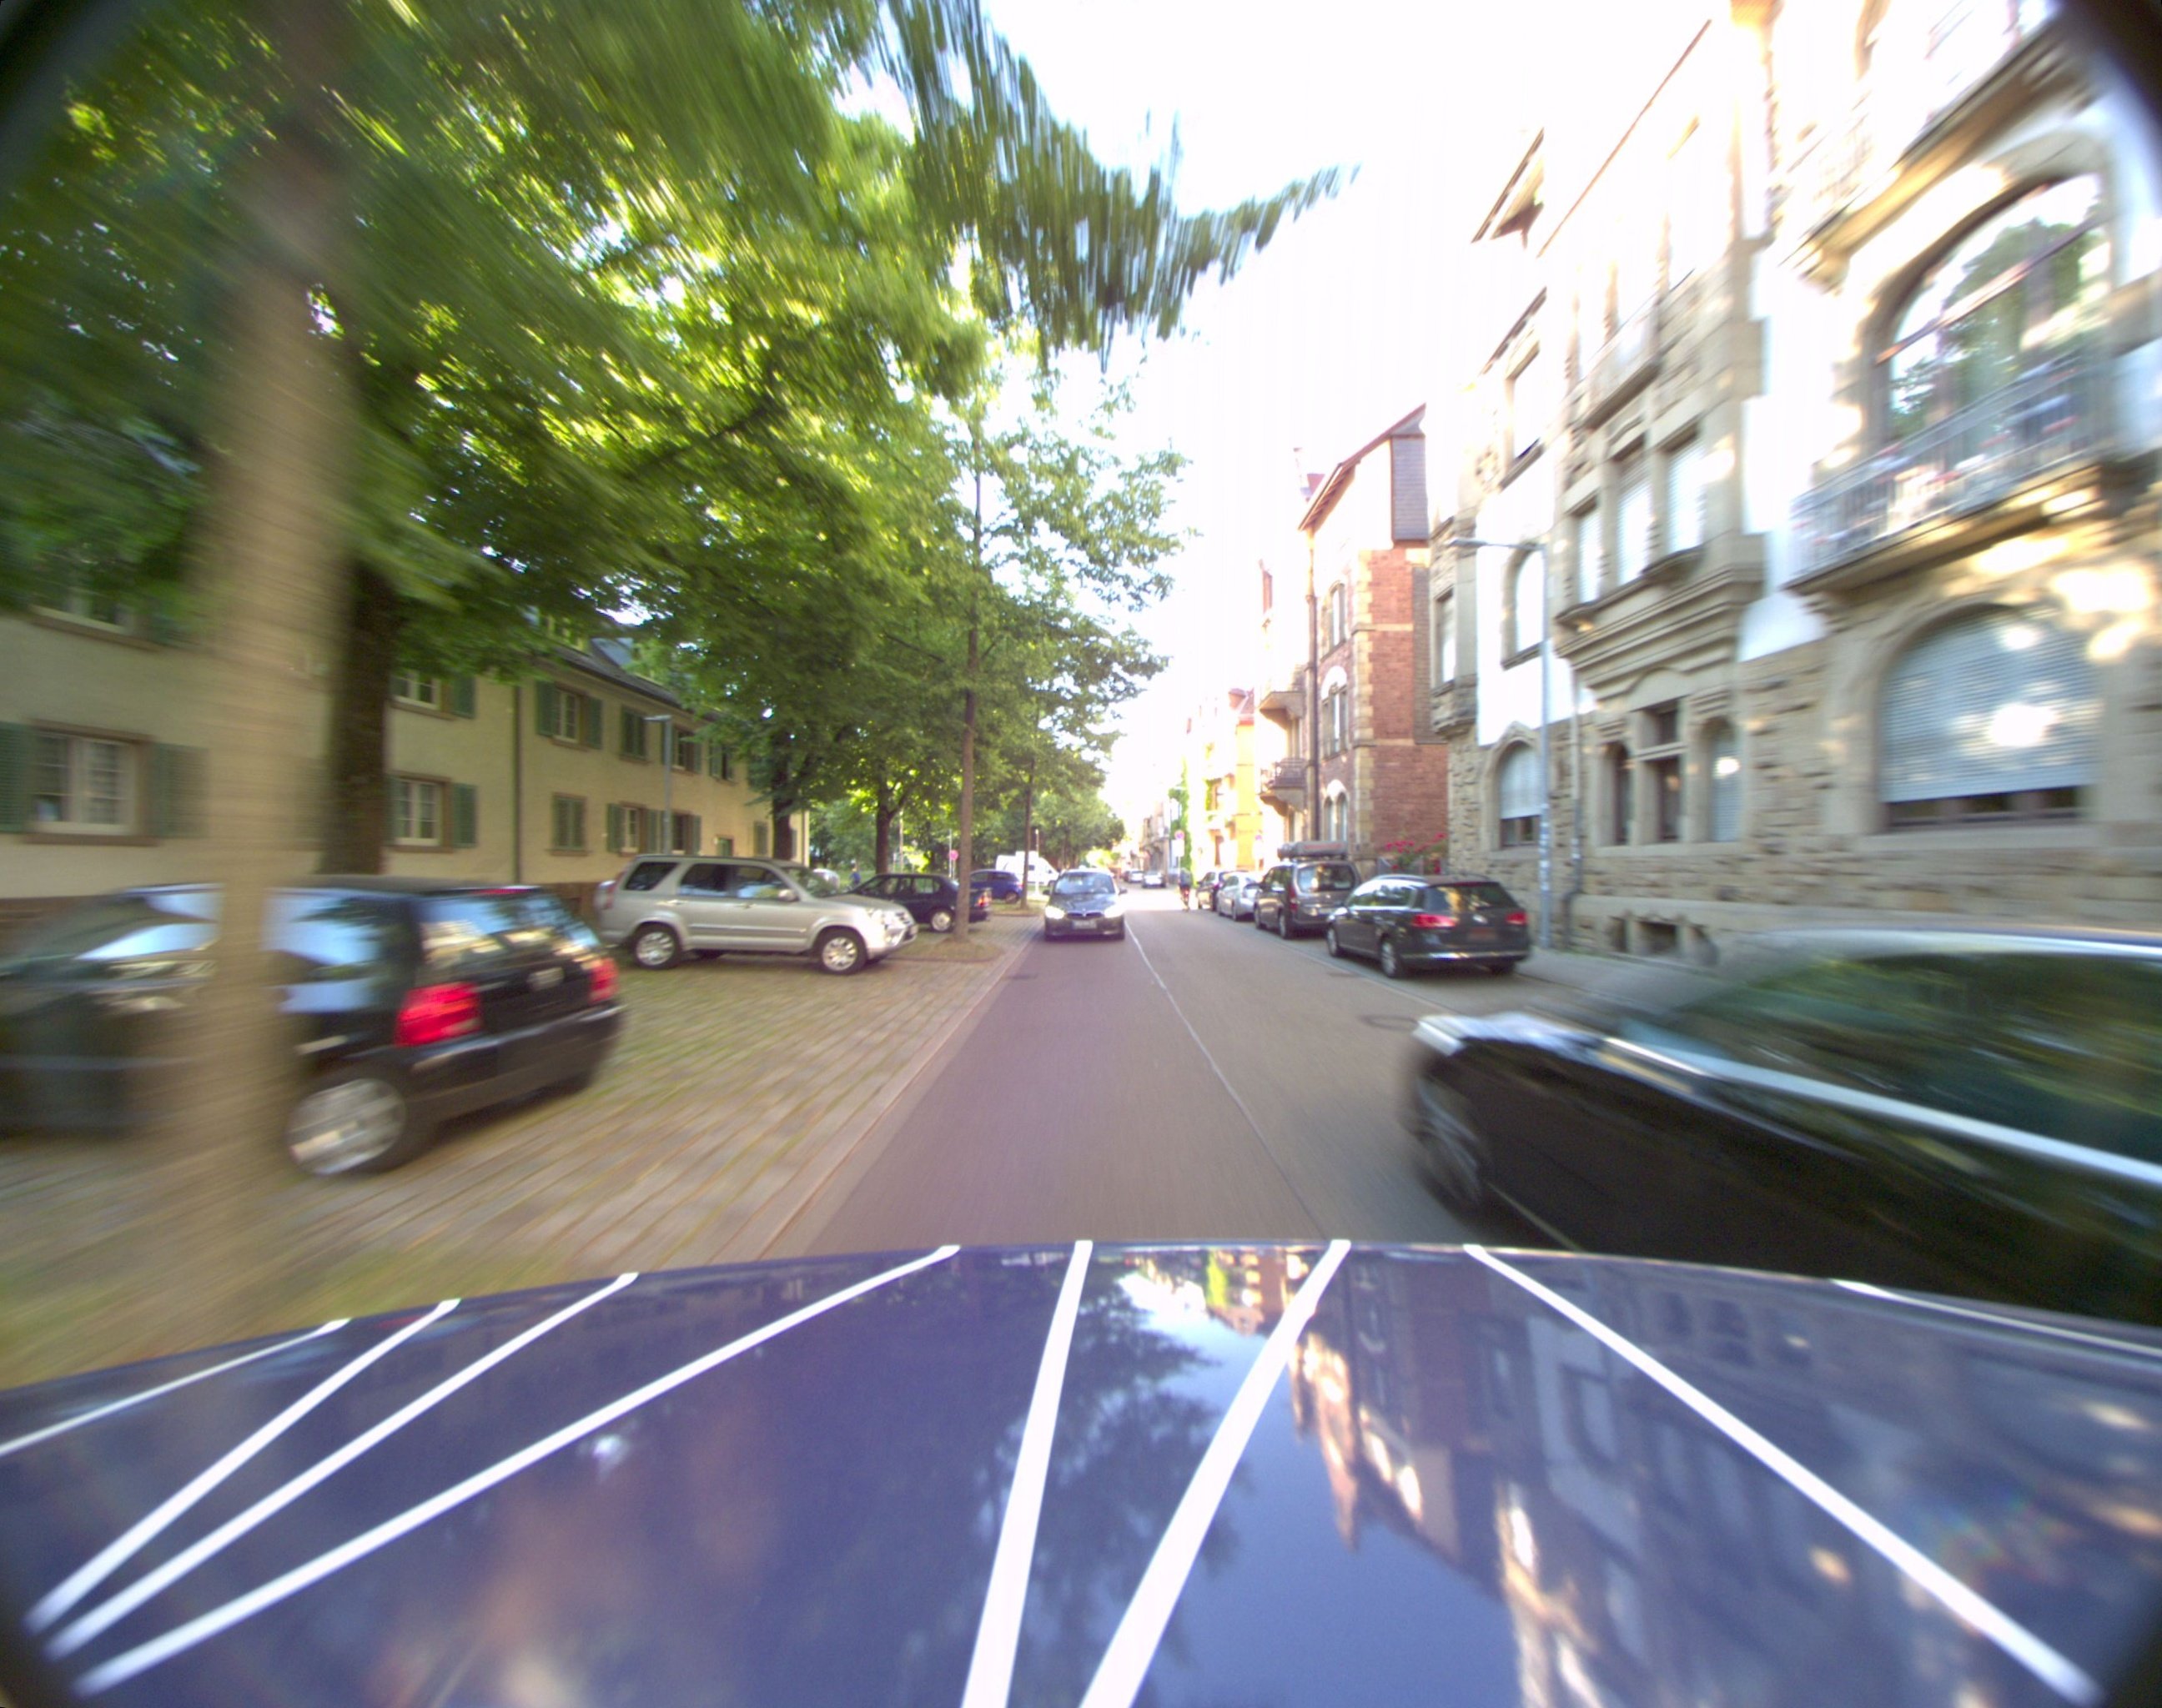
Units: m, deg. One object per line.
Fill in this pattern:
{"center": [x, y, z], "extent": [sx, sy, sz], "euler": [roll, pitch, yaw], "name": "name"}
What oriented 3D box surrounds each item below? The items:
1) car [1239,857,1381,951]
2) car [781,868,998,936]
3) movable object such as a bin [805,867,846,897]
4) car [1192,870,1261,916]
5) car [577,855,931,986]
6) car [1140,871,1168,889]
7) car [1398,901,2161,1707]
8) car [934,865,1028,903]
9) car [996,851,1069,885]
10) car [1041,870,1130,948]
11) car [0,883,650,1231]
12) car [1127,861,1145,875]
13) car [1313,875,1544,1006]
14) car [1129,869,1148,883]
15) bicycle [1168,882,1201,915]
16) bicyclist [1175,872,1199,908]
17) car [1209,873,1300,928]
{"center": [5.377, 1.122, 18.554], "extent": [1.974, 1.962, 4.498], "euler": [-2, -1, -1], "name": "car"}
{"center": [-4.650, 1.150, 18.991], "extent": [4.906, 1.433, 1.942], "euler": [2, 0, -1], "name": "car"}
{"center": [-14.454, 1.566, 42.981], "extent": [1.638, 1.648, 1.592], "euler": [0, 1, 8], "name": "movable object such as a bin"}
{"center": [5.600, 1.477, 29.735], "extent": [1.734, 1.612, 4.259], "euler": [-2, -1, -1], "name": "car"}
{"center": [-4.749, 0.958, 11.591], "extent": [4.487, 1.659, 1.943], "euler": [2, -1, -1], "name": "car"}
{"center": [6.169, 2.170, 64.411], "extent": [1.881, 1.396, 4.926], "euler": [-2, -1, 0], "name": "car"}
{"center": [2.464, 0.995, 1.496], "extent": [1.901, 1.477, 4.381], "euler": [1, 0, 1], "name": "car"}
{"center": [-4.450, 1.327, 34.448], "extent": [3.997, 1.546, 2.000], "euler": [1, 0, -1], "name": "car"}
{"center": [-3.773, 1.045, 59.983], "extent": [5.627, 2.599, 2.238], "euler": [0, 1, -1], "name": "car"}
{"center": [0.141, 1.217, 18.521], "extent": [1.889, 1.612, 4.619], "euler": [0, 0, 1], "name": "car"}
{"center": [-4.720, 0.961, 4.332], "extent": [3.510, 1.464, 1.751], "euler": [1, 1, 0], "name": "car"}
{"center": [6.827, 1.699, 94.819], "extent": [1.998, 1.616, 4.144], "euler": [0, 0, 2], "name": "car"}
{"center": [5.281, 1.207, 12.335], "extent": [1.733, 1.565, 4.709], "euler": [0, 0, 2], "name": "car"}
{"center": [6.499, 2.475, 86.286], "extent": [1.867, 1.537, 3.793], "euler": [0, 0, 0], "name": "car"}
{"center": [3.913, 1.666, 28.884], "extent": [0.755, 1.171, 2.620], "euler": [1, -1, -3], "name": "bicycle"}
{"center": [3.968, 1.339, 28.523], "extent": [0.667, 1.337, 1.060], "euler": [1, -1, -3], "name": "bicyclist"}
{"center": [5.397, 1.403, 24.203], "extent": [1.734, 1.490, 4.455], "euler": [-2, -1, -1], "name": "car"}
